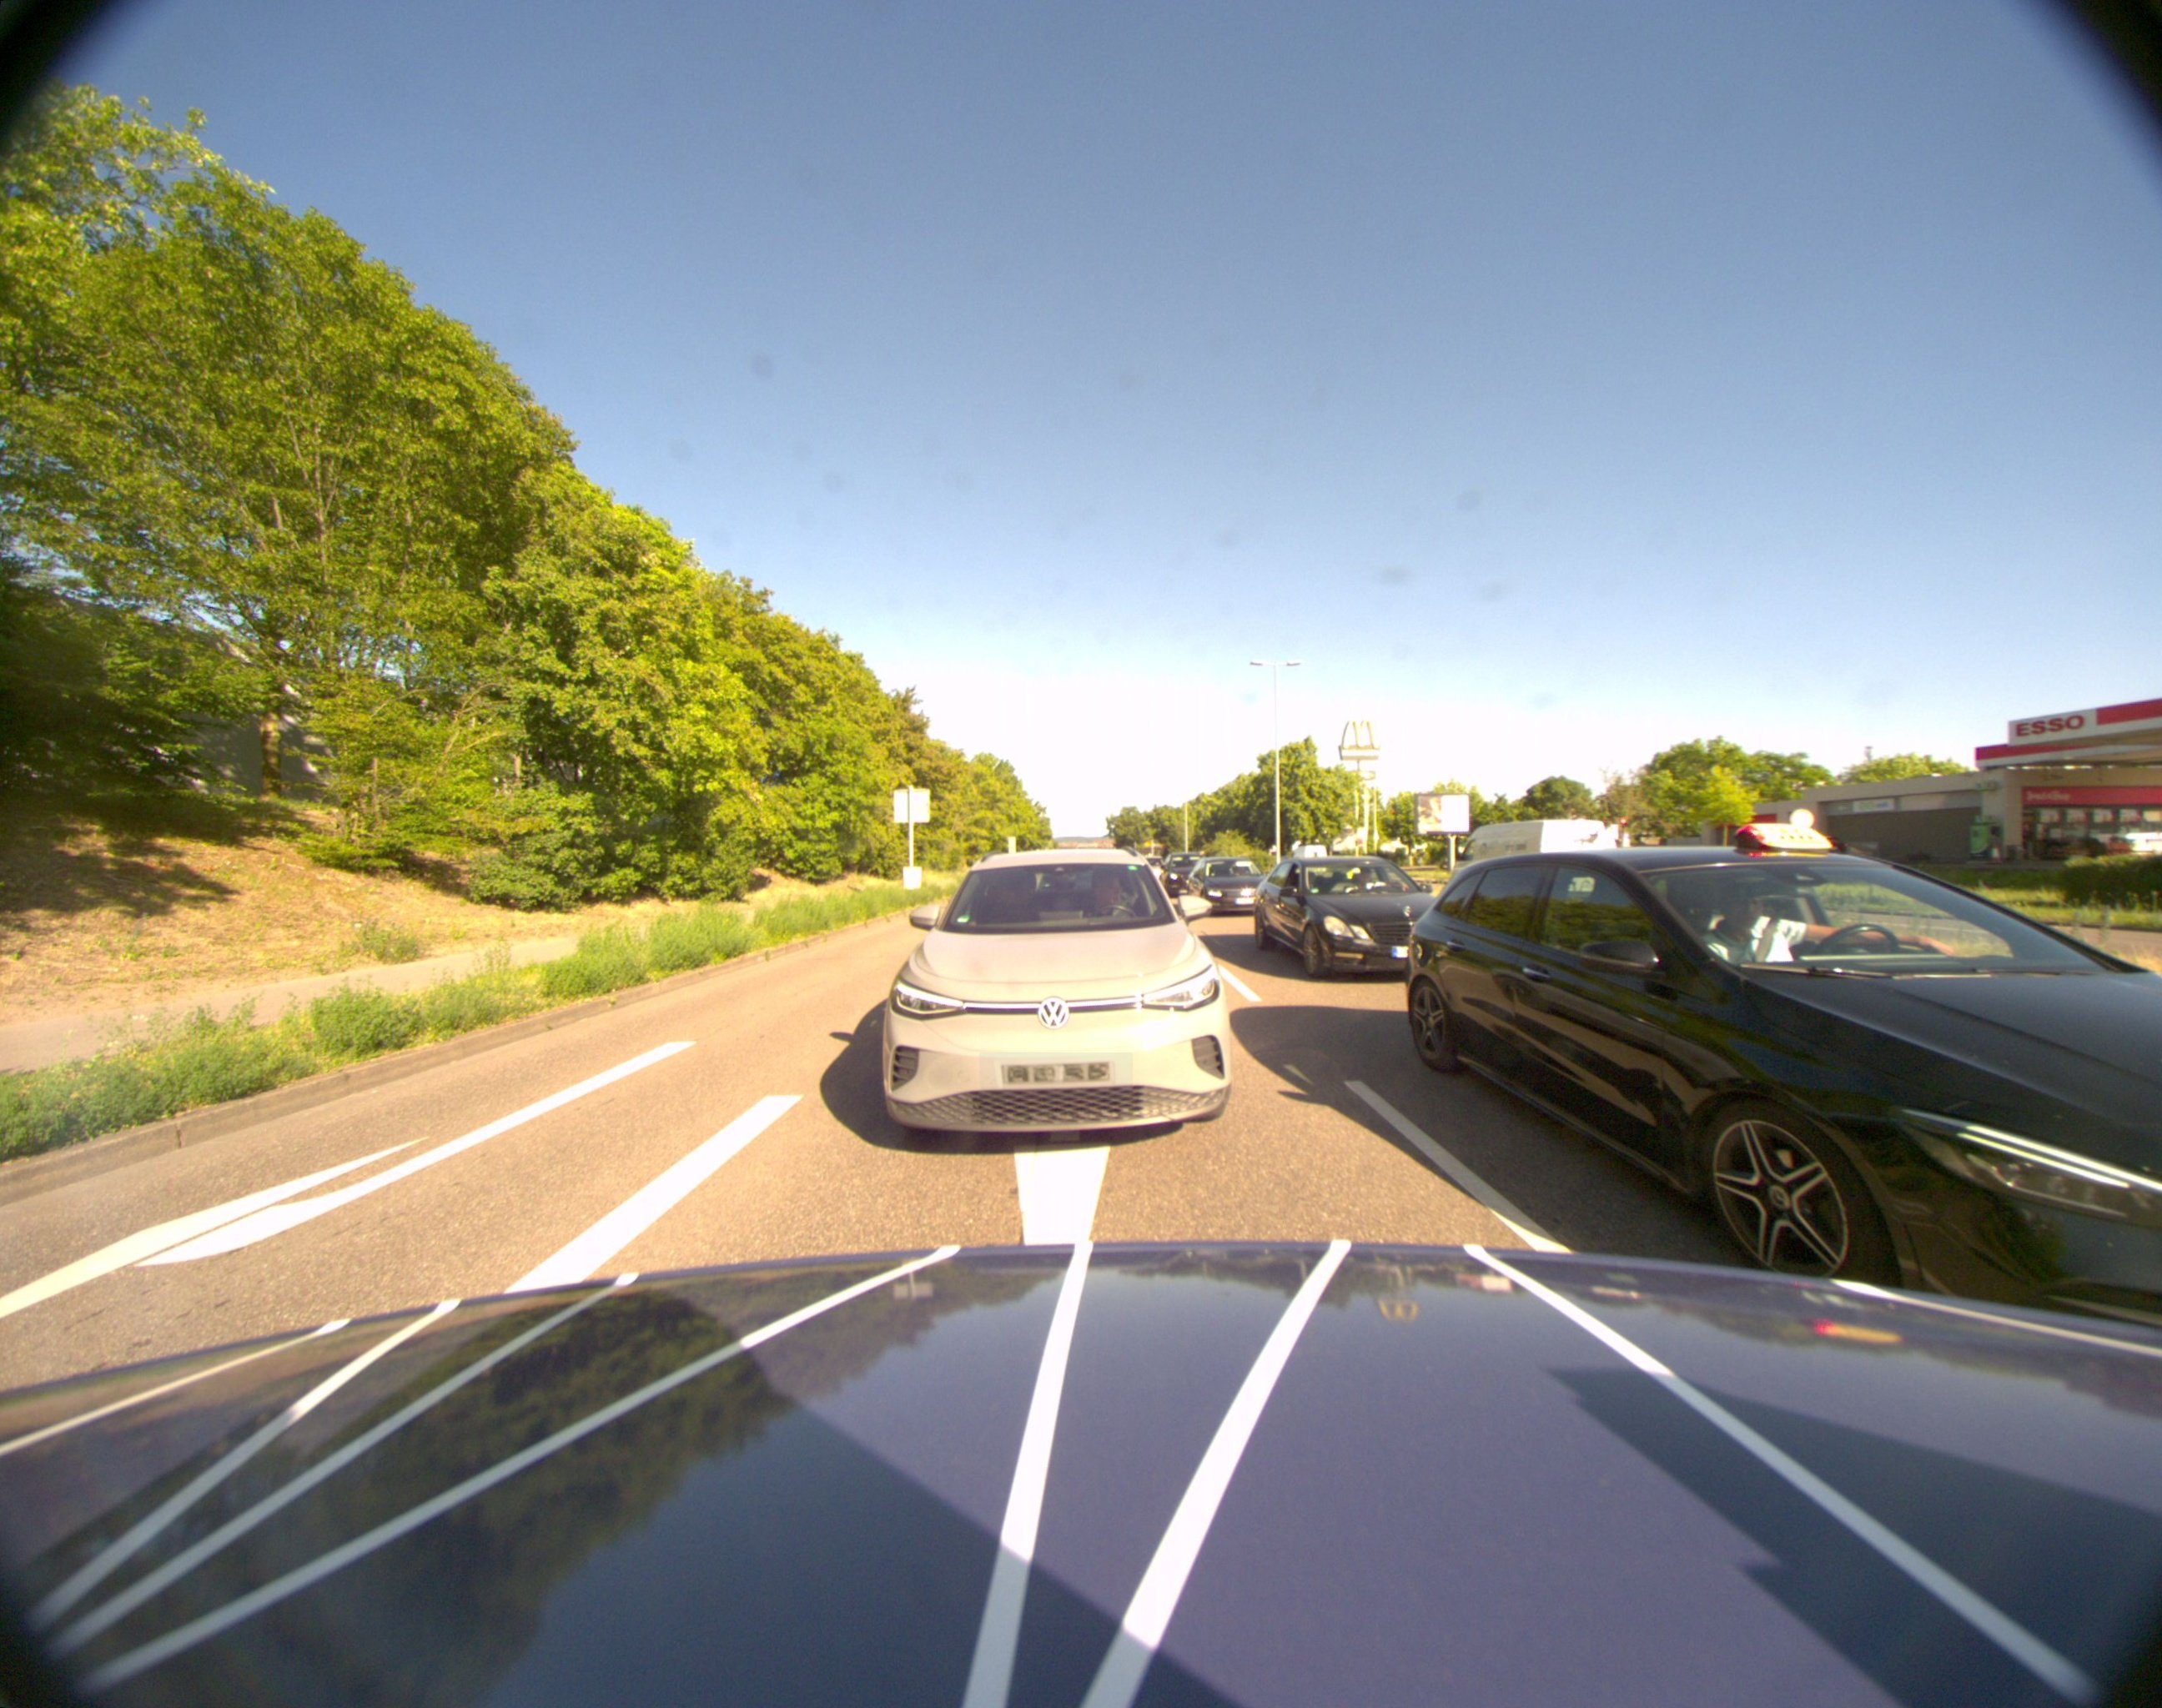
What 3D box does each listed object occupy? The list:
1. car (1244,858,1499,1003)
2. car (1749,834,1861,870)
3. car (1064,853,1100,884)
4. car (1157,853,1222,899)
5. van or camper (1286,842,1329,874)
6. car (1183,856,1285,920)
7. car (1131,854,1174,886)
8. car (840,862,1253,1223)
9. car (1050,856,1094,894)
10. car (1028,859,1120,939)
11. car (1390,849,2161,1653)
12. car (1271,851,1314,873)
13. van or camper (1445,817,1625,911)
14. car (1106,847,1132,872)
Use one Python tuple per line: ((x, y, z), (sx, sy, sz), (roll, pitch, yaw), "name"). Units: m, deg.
((3.631, 0.849, 10.475), (1.862, 1.515, 4.403), (-1, 0, 1), "car")
((37.698, -0.093, 39.710), (1.998, 1.759, 4.118), (-2, 0, 2), "car")
((0.075, 0.743, 40.751), (1.765, 1.503, 3.760), (-2, 0, 1), "car")
((4.049, 0.771, 29.035), (1.862, 1.578, 4.403), (-1, 0, 1), "car")
((20.187, 0.327, 67.929), (1.999, 2.635, 5.956), (1, 0, 0), "van or camper")
((3.941, 0.827, 20.260), (1.862, 1.472, 4.403), (-1, 0, 1), "car")
((3.744, 0.798, 40.422), (1.862, 1.578, 4.403), (-1, 0, 1), "car")
((-0.135, 0.898, 5.488), (1.871, 1.588, 3.932), (-2, 0, 1), "car")
((-0.348, 0.885, 33.399), (1.765, 1.503, 3.760), (-2, 0, 1), "car")
((-0.118, 0.897, 16.804), (1.765, 1.503, 3.760), (-2, 0, 1), "car")
((3.150, 0.808, 3.529), (1.804, 1.616, 4.188), (-1, 0, 2), "car")
((16.689, 0.592, 60.066), (1.999, 1.643, 4.613), (1, 0, -1), "car")
((14.144, 0.264, 24.356), (2.183, 2.557, 6.756), (-1, 0, 5), "van or camper")
((3.682, 0.481, 73.813), (2.289, 2.274, 5.381), (-1, 0, 1), "car")
